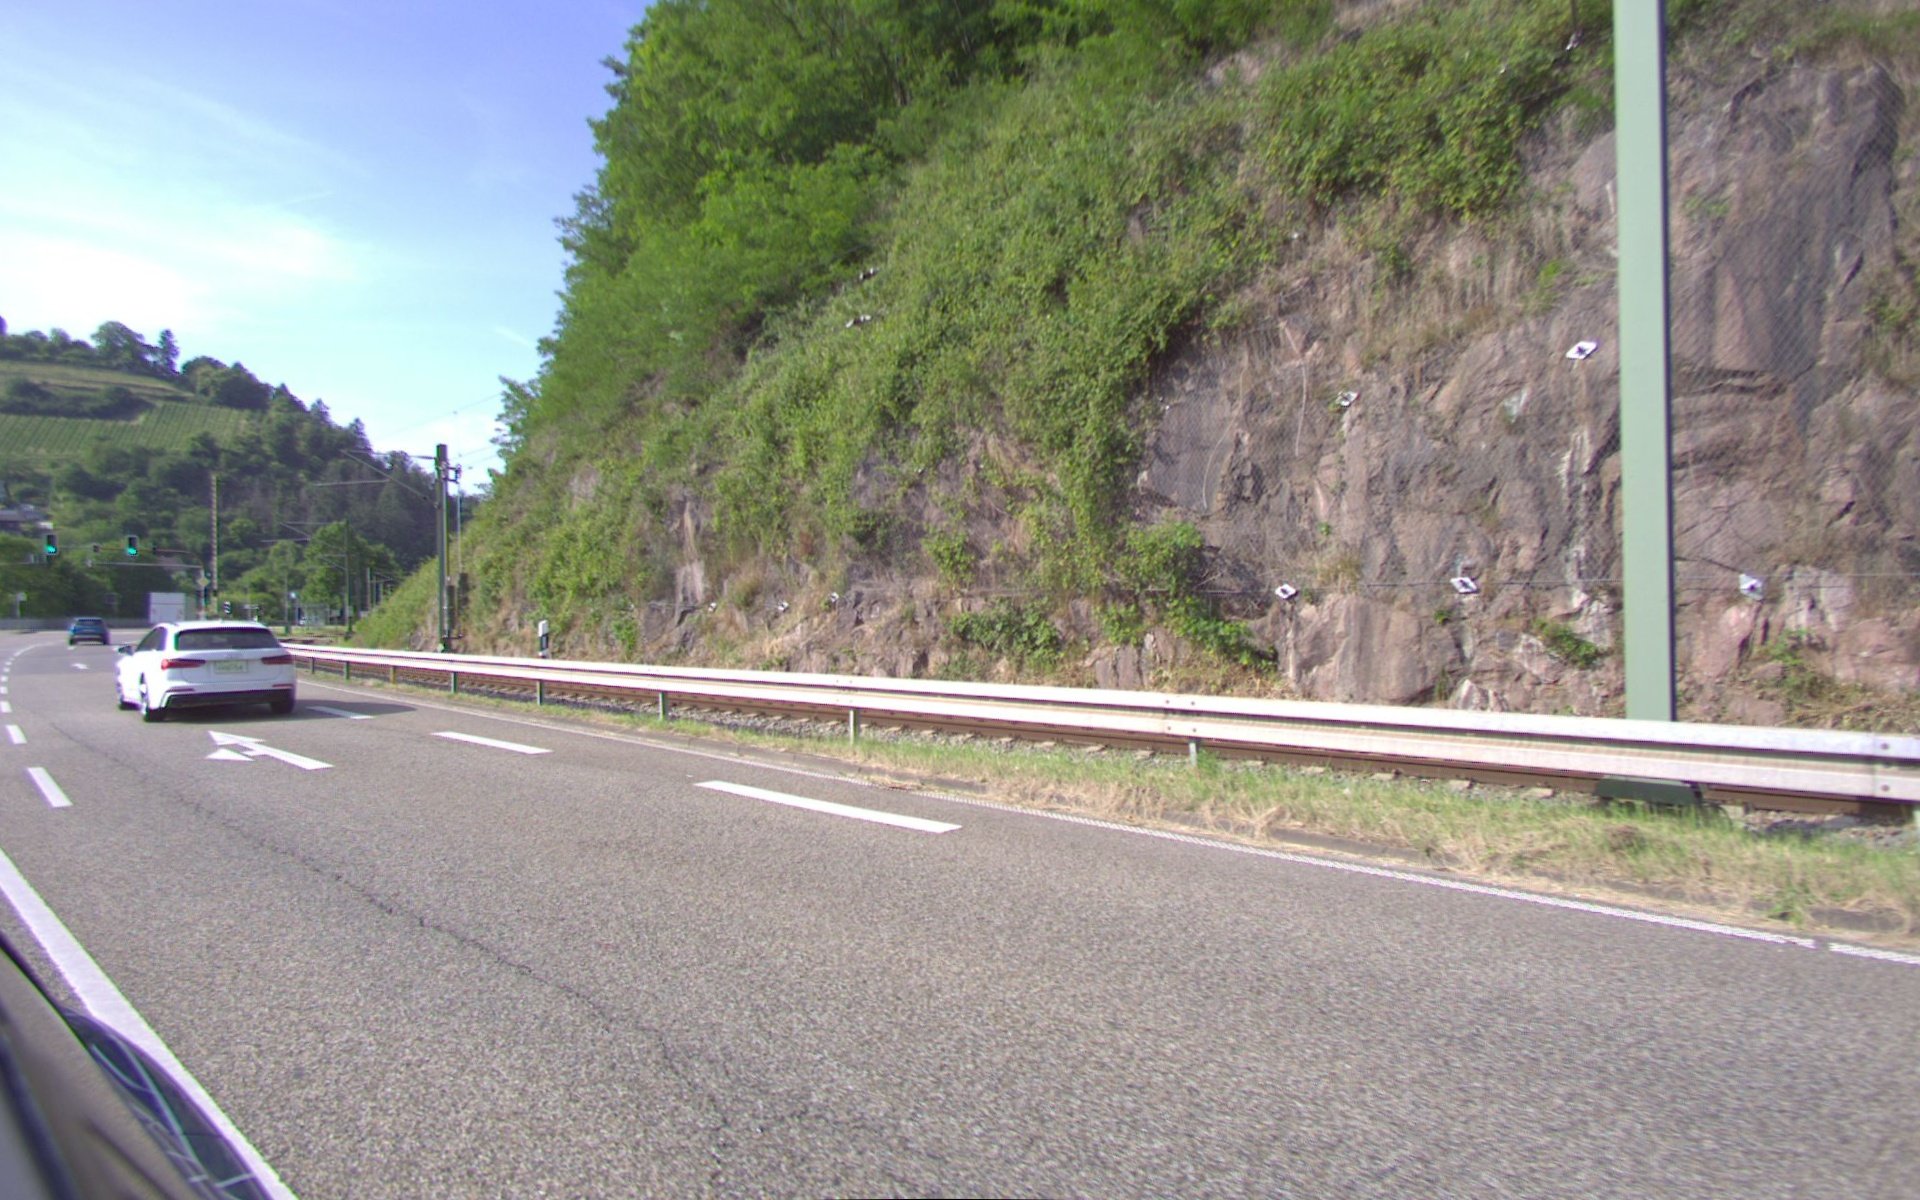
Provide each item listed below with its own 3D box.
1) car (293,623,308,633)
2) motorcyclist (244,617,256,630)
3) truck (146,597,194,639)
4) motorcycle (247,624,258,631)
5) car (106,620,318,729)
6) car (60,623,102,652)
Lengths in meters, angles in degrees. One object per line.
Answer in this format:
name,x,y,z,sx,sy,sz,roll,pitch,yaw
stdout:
car,-106.585,4.546,163.620,1.668,1.669,4.184,0,-1,-28
motorcyclist,-93.024,3.061,132.618,0.992,1.728,0.868,0,-1,-17
truck,-75.149,1.751,96.431,2.858,3.828,8.917,1,-2,-33
motorcycle,-92.774,3.622,132.756,0.812,0.961,2.225,0,-1,-26
car,-12.041,1.082,16.160,4.688,1.450,2.040,-2,-2,45
car,-51.501,2.179,59.279,1.698,1.582,4.139,1,-2,-43
